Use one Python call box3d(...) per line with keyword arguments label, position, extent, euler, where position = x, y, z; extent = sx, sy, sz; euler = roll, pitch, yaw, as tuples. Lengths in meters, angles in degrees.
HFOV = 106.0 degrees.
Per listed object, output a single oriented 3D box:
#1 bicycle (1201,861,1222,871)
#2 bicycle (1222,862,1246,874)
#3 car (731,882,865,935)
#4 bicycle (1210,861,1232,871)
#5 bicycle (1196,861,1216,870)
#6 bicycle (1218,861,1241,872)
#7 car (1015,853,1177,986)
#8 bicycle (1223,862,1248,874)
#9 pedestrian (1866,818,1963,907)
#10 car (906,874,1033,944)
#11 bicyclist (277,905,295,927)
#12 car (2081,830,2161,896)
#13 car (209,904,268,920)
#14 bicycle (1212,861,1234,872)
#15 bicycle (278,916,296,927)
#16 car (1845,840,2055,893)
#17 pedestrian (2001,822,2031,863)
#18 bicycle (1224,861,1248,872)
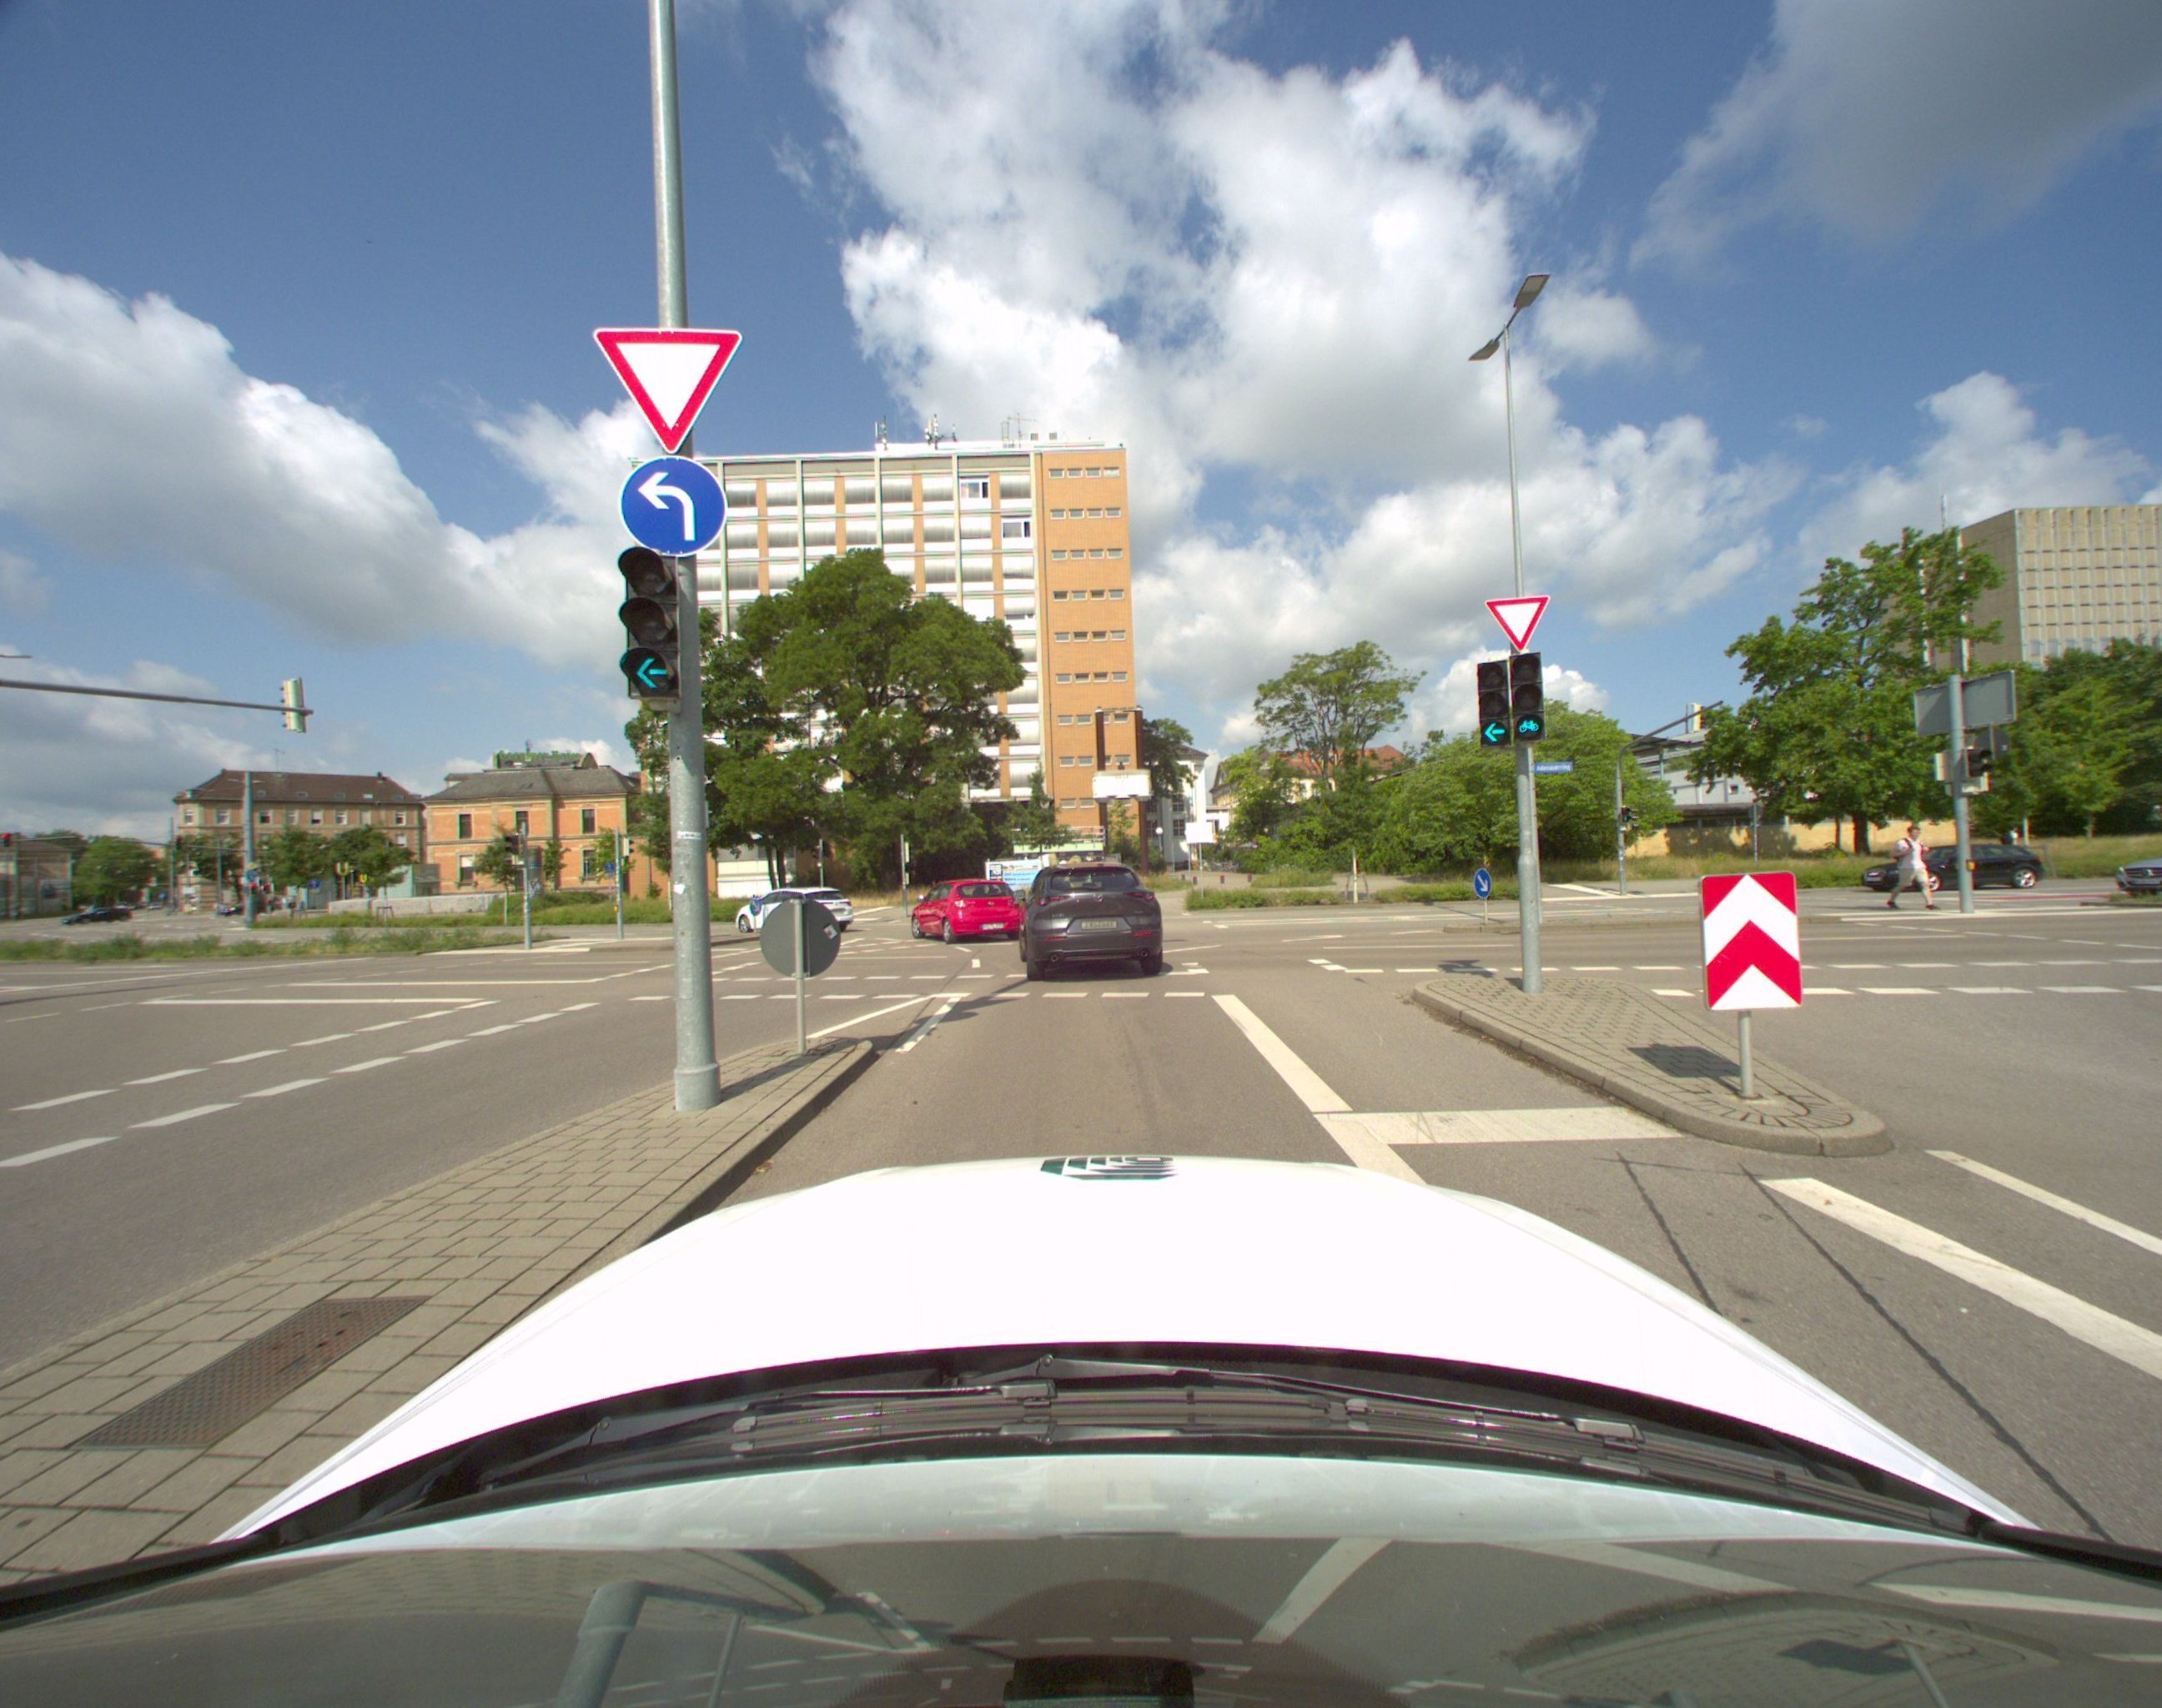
box3d(label="bicycle", position=(13.980, 1.308, 87.202), extent=(2.048, 0.936, 0.804), euler=(-3, -1, -1))
box3d(label="bicycle", position=(14.081, 1.291, 75.008), extent=(2.048, 0.936, 0.804), euler=(-3, -1, -1))
box3d(label="car", position=(-9.073, 1.719, 25.960), extent=(4.278, 1.472, 1.866), euler=(-3, -1, 36))
box3d(label="bicycle", position=(14.328, 1.270, 83.463), extent=(2.048, 0.936, 0.804), euler=(-3, -1, -1))
box3d(label="bicycle", position=(14.147, 1.350, 92.061), extent=(2.048, 0.936, 0.804), euler=(-3, -1, -1))
box3d(label="bicycle", position=(14.440, 1.230, 78.985), extent=(2.048, 0.936, 0.804), euler=(-3, -1, -1))
box3d(label="car", position=(0.023, 0.853, 12.002), extent=(1.804, 1.508, 4.195), euler=(-3, -2, -6))
box3d(label="bicycle", position=(13.901, 1.246, 73.434), extent=(2.048, 0.936, 0.804), euler=(-3, -1, -1))
box3d(label="pedestrian", position=(18.188, 0.200, 17.809), extent=(0.697, 1.857, 1.176), euler=(-2, -3, -10))
box3d(label="car", position=(-2.841, 1.281, 19.963), extent=(1.826, 1.439, 4.031), euler=(-2, -1, -27))
box3d(label="bicyclist", position=(-65.104, 5.101, 66.661), extent=(0.953, 1.702, 0.743), euler=(-3, 0, 30))
box3d(label="car", position=(25.923, 0.103, 17.986), extent=(4.741, 1.442, 2.065), euler=(-3, -3, 5))
box3d(label="car", position=(-91.841, 6.292, 88.818), extent=(1.796, 1.508, 4.094), euler=(-3, -1, 11))
box3d(label="bicycle", position=(14.389, 1.263, 82.466), extent=(2.048, 0.936, 0.804), euler=(-3, -1, -1))
box3d(label="bicycle", position=(-64.821, 5.504, 66.501), extent=(1.766, 0.811, 0.631), euler=(-3, 0, 31))
box3d(label="car", position=(26.660, 0.365, 25.125), extent=(4.126, 1.377, 2.003), euler=(-3, 0, 5))
box3d(label="pedestrian", position=(36.867, -0.449, 32.114), extent=(0.521, 1.608, 0.541), euler=(0, -1, -3))
box3d(label="bicycle", position=(14.759, 1.215, 77.647), extent=(2.048, 0.936, 0.804), euler=(-3, -1, -1))
